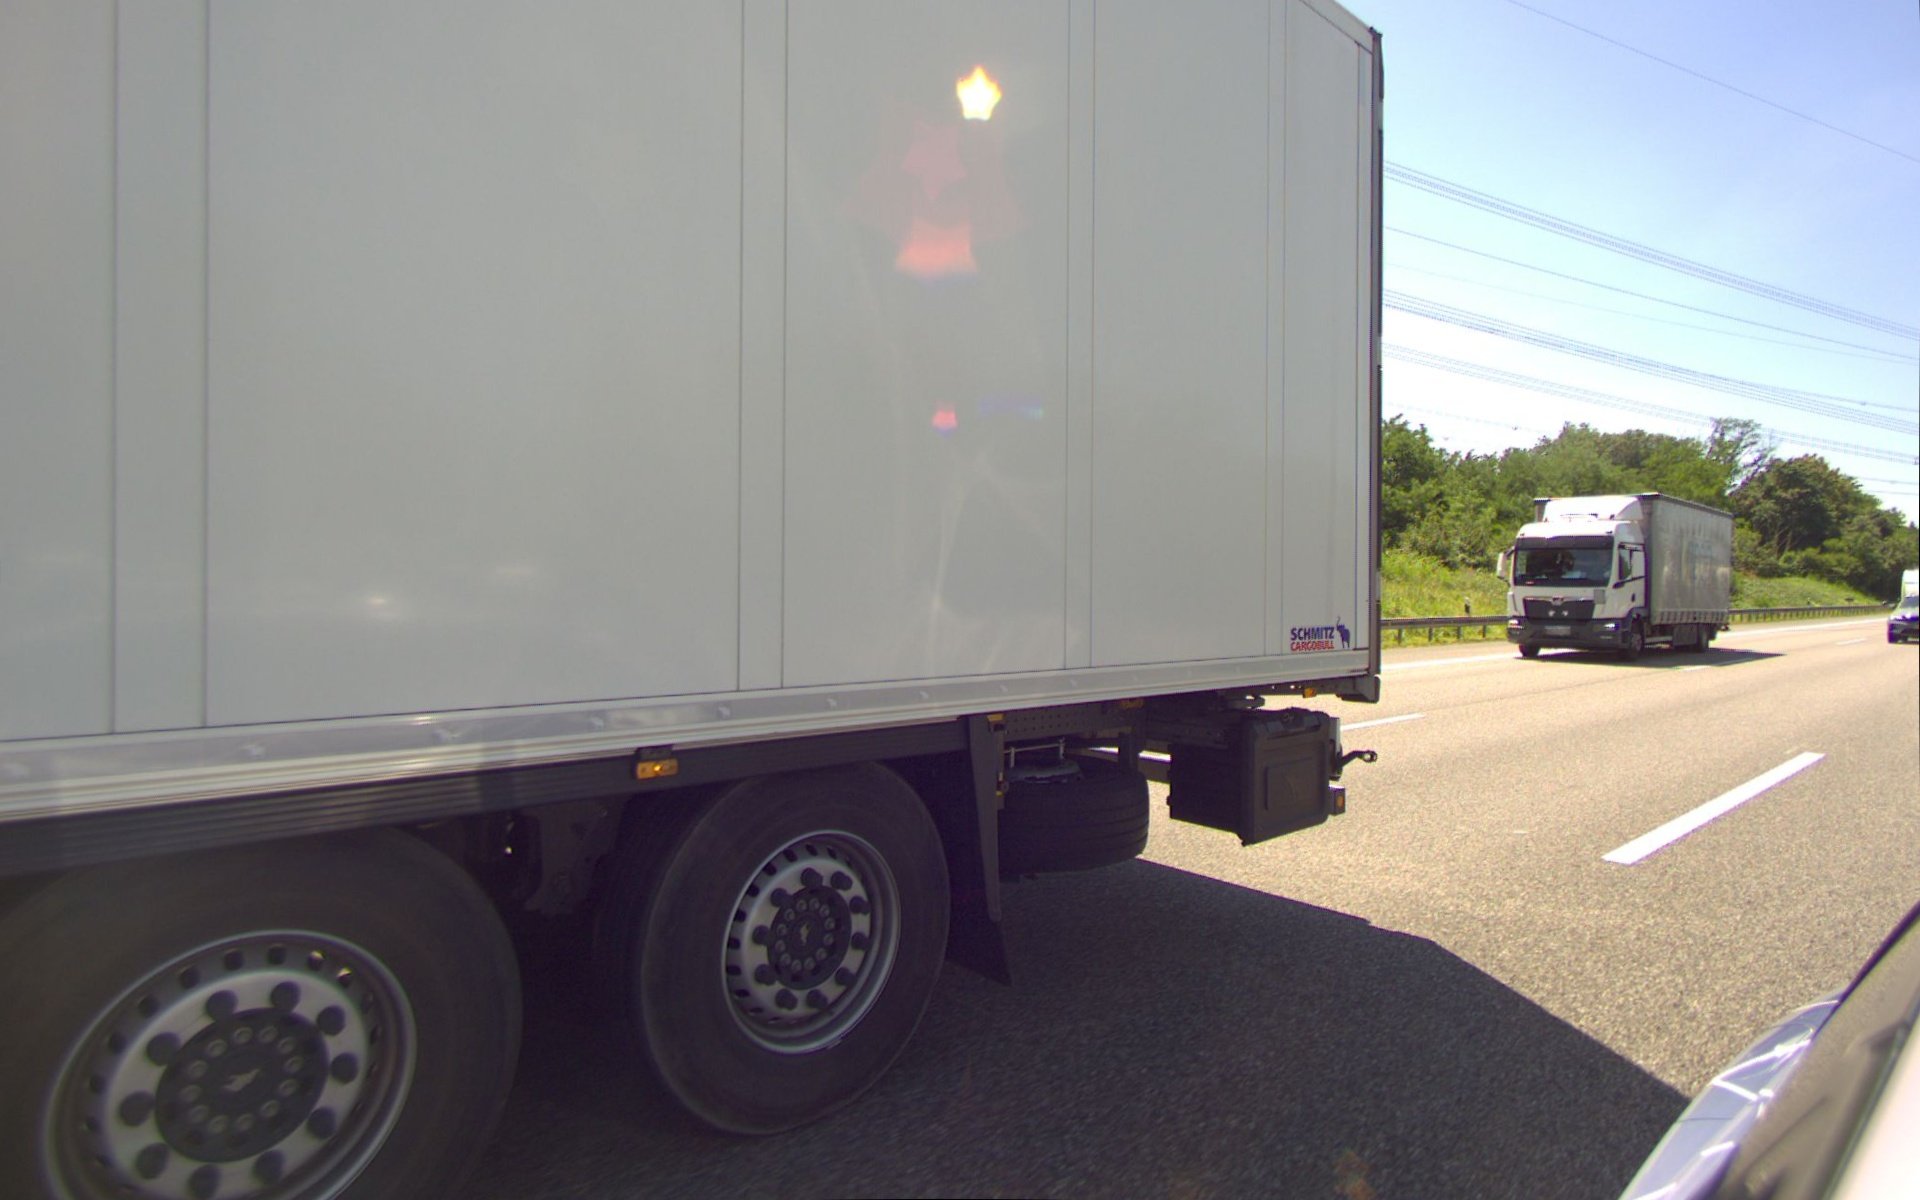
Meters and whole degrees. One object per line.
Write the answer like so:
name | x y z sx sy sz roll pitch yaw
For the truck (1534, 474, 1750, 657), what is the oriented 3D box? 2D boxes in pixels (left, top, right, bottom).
truck | 17.201 -0.763 25.130 9.868 3.819 1.985 0 1 -41

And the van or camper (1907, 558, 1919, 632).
van or camper | 35.754 -0.177 35.985 6.320 2.528 2.410 0 1 -41

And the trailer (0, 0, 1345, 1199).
trailer | -5.319 -0.732 0.112 15.919 4.068 2.942 -1 1 -41

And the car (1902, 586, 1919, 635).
car | 31.824 0.335 32.574 4.033 1.548 1.786 0 1 -41
